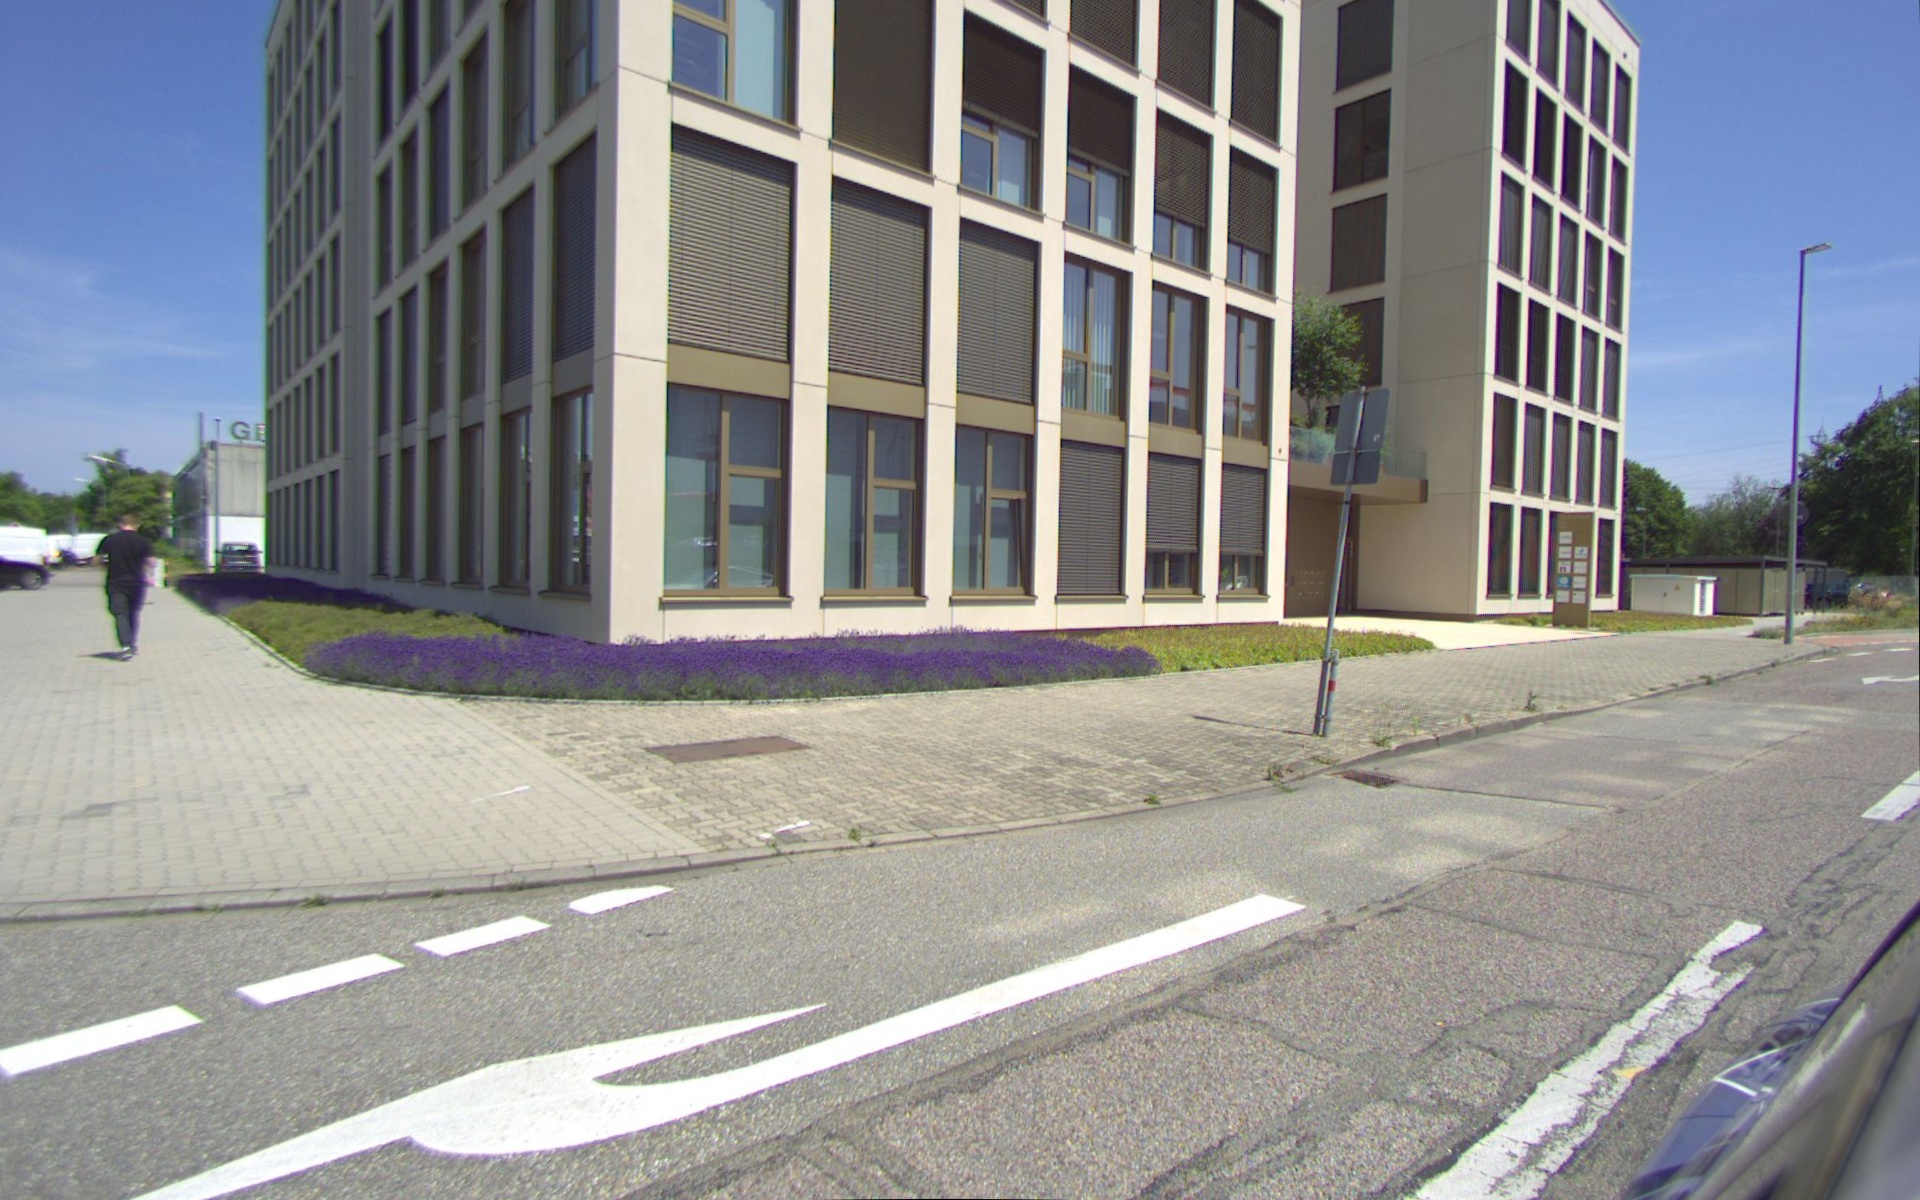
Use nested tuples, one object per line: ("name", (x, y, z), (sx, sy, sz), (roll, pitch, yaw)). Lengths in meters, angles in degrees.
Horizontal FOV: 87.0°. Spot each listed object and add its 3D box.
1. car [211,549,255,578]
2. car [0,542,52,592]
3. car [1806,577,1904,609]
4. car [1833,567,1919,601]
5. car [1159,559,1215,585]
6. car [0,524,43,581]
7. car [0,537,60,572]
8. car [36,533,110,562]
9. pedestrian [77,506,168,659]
("car", (-40.279, -2.030, 56.057), (1.758, 1.541, 3.574), (-1, 3, -39))
("car", (-31.353, -1.020, 31.595), (1.792, 1.557, 4.132), (0, 3, 19))
("car", (53.149, -0.440, 60.182), (3.960, 1.682, 1.823), (2, 2, 26))
("car", (56.696, -1.007, 62.326), (3.957, 1.977, 1.984), (2, 2, 24))
("car", (17.697, -2.182, 78.967), (3.921, 1.874, 2.002), (0, 2, -31))
("car", (-45.411, -2.201, 45.796), (5.705, 2.565, 2.097), (1, 1, -44))
("car", (-57.262, -2.782, 61.268), (3.925, 2.038, 2.000), (0, 2, -37))
("car", (-70.011, -4.144, 79.986), (4.281, 2.146, 2.094), (0, 2, -38))
("pedestrian", (-10.653, -0.238, 12.902), (0.758, 1.867, 0.869), (-1, 3, -33))
